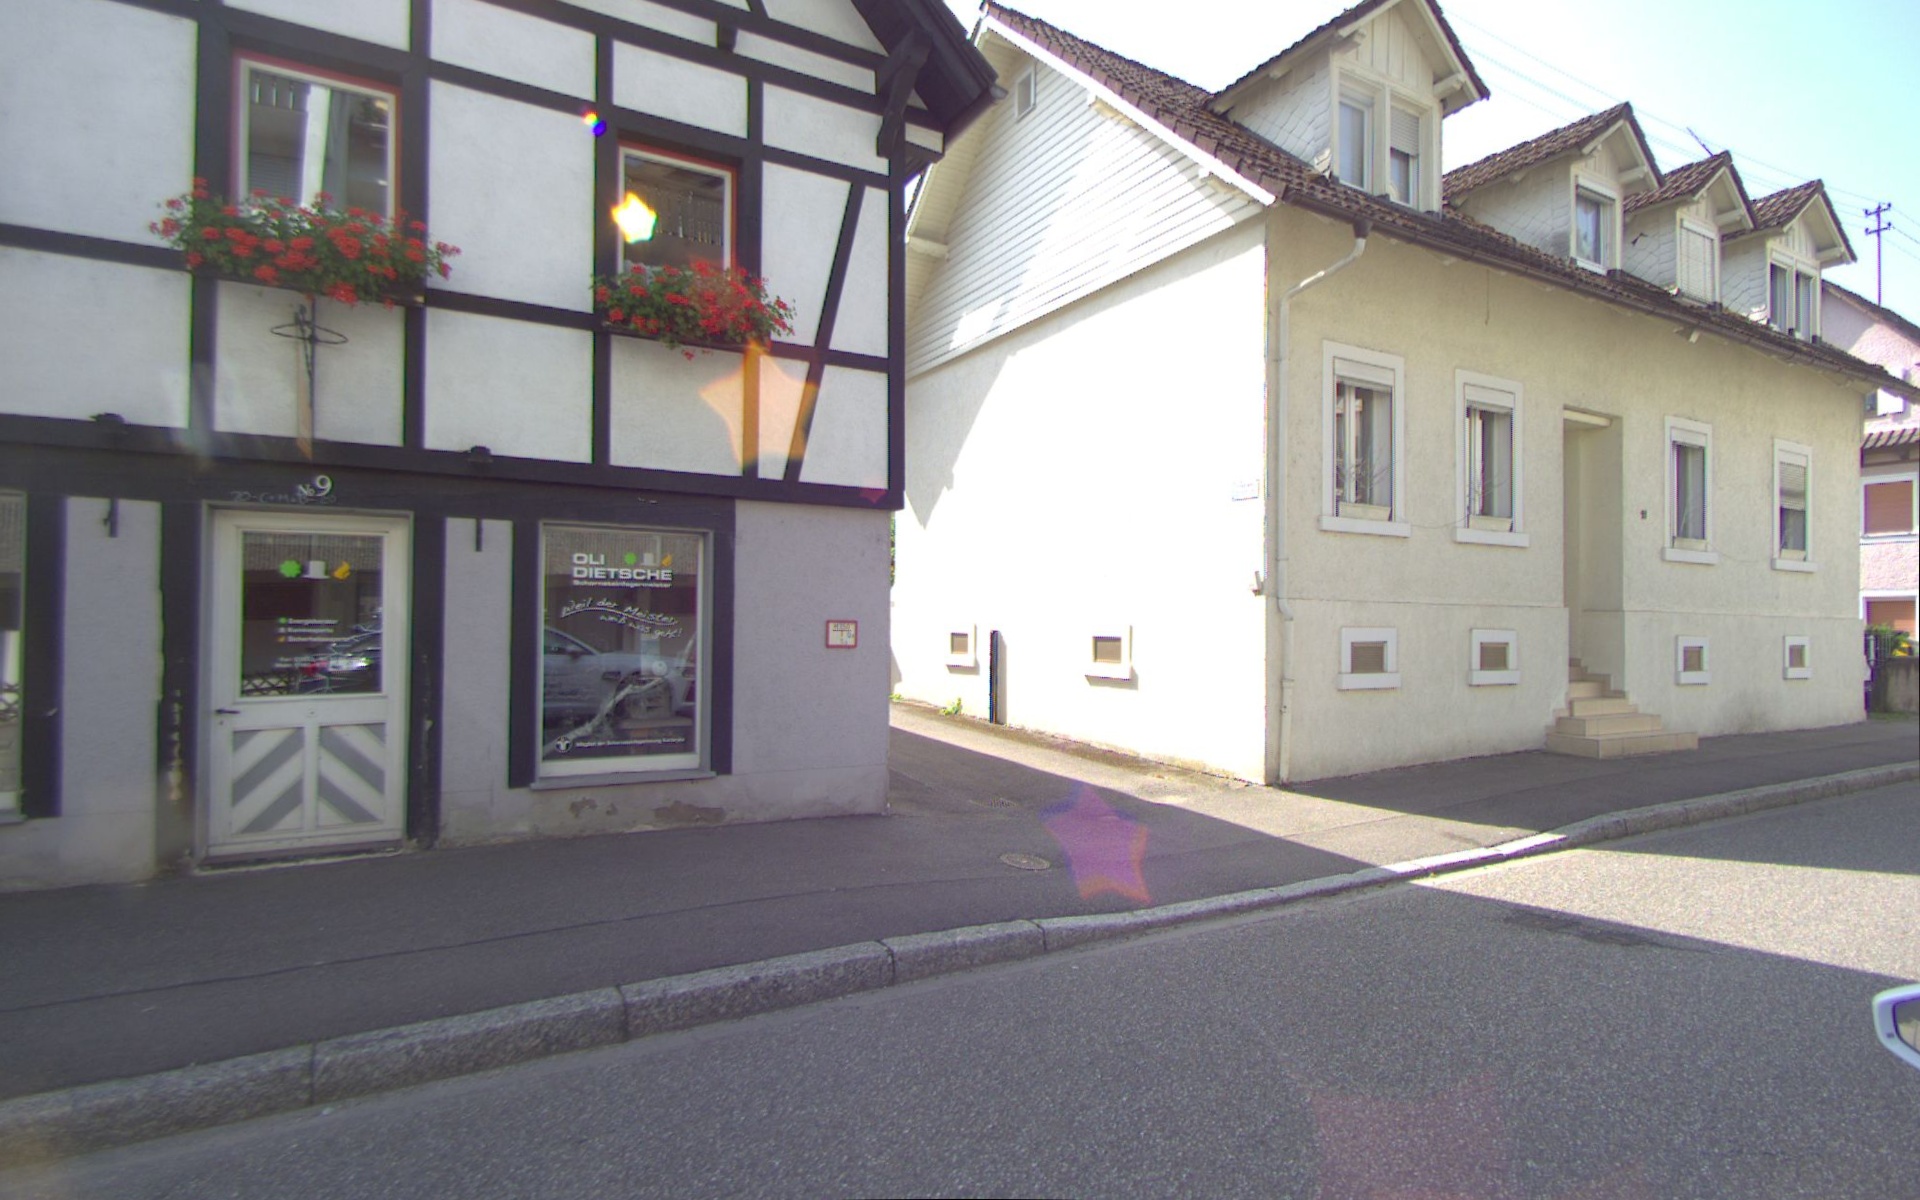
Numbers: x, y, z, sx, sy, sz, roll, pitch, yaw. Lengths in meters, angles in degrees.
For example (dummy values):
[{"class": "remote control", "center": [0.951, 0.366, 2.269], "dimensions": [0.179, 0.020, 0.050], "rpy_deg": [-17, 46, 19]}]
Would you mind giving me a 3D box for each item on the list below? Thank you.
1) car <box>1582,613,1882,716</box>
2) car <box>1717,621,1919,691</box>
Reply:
[{"class": "car", "center": [13.944, 1.074, 18.378], "dimensions": [1.886, 1.615, 3.965], "rpy_deg": [1, 0, -32]}, {"class": "car", "center": [20.282, 1.241, 23.560], "dimensions": [1.628, 1.411, 3.729], "rpy_deg": [0, 0, -33]}]
